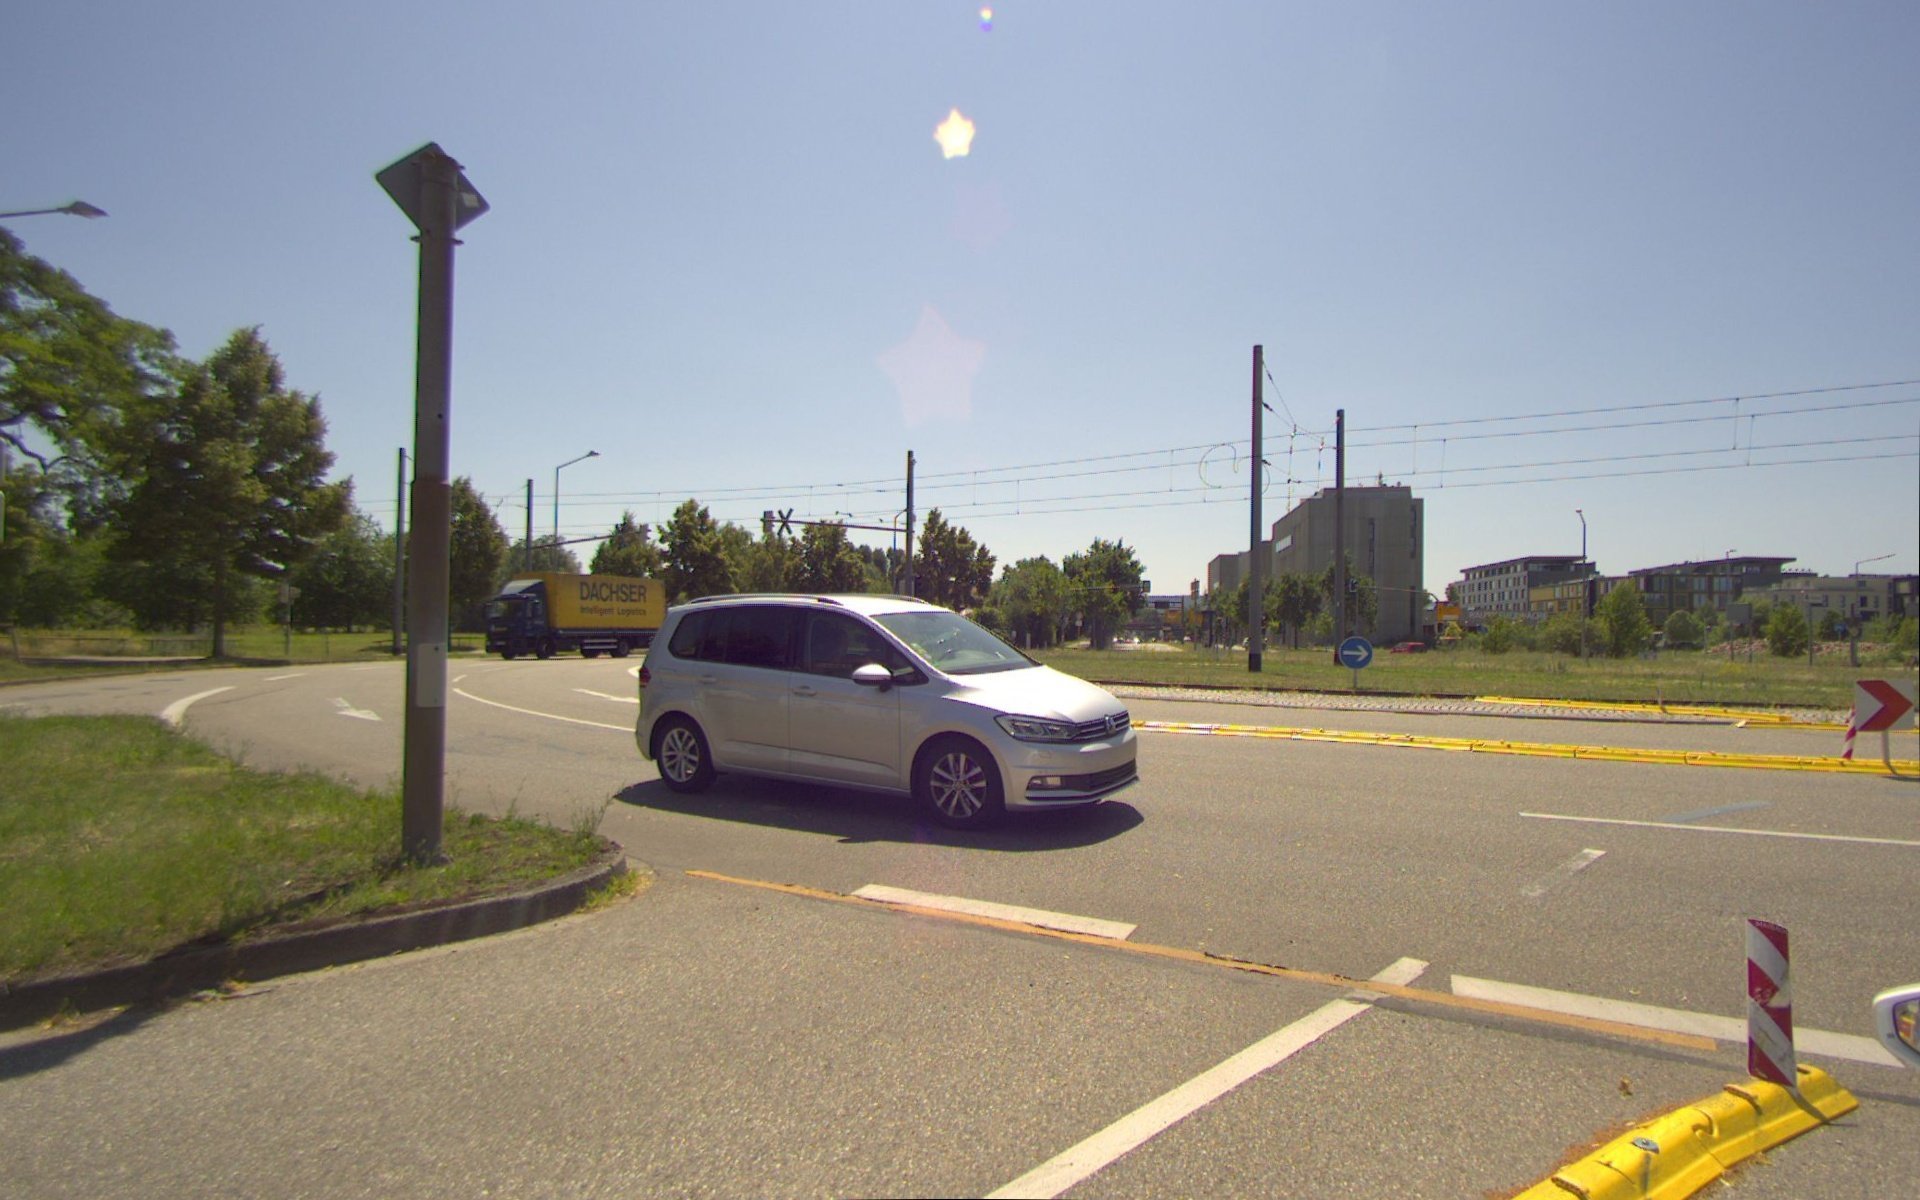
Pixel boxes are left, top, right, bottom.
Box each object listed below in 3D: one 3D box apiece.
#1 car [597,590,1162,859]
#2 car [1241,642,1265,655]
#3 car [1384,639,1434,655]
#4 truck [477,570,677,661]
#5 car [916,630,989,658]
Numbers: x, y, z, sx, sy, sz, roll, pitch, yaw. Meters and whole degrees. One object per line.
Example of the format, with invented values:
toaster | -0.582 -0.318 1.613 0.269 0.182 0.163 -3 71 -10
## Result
car | -0.804 0.775 8.275 4.527 1.671 1.801 0 0 34
car | 30.228 5.007 103.564 1.524 1.208 3.478 1 -1 1
car | 34.224 3.571 76.649 1.475 1.104 3.506 1 -2 -19
truck | -17.069 0.797 45.844 2.655 3.707 9.614 0 -2 22
car | -0.397 2.445 56.071 4.020 1.480 1.708 2 -2 -43
